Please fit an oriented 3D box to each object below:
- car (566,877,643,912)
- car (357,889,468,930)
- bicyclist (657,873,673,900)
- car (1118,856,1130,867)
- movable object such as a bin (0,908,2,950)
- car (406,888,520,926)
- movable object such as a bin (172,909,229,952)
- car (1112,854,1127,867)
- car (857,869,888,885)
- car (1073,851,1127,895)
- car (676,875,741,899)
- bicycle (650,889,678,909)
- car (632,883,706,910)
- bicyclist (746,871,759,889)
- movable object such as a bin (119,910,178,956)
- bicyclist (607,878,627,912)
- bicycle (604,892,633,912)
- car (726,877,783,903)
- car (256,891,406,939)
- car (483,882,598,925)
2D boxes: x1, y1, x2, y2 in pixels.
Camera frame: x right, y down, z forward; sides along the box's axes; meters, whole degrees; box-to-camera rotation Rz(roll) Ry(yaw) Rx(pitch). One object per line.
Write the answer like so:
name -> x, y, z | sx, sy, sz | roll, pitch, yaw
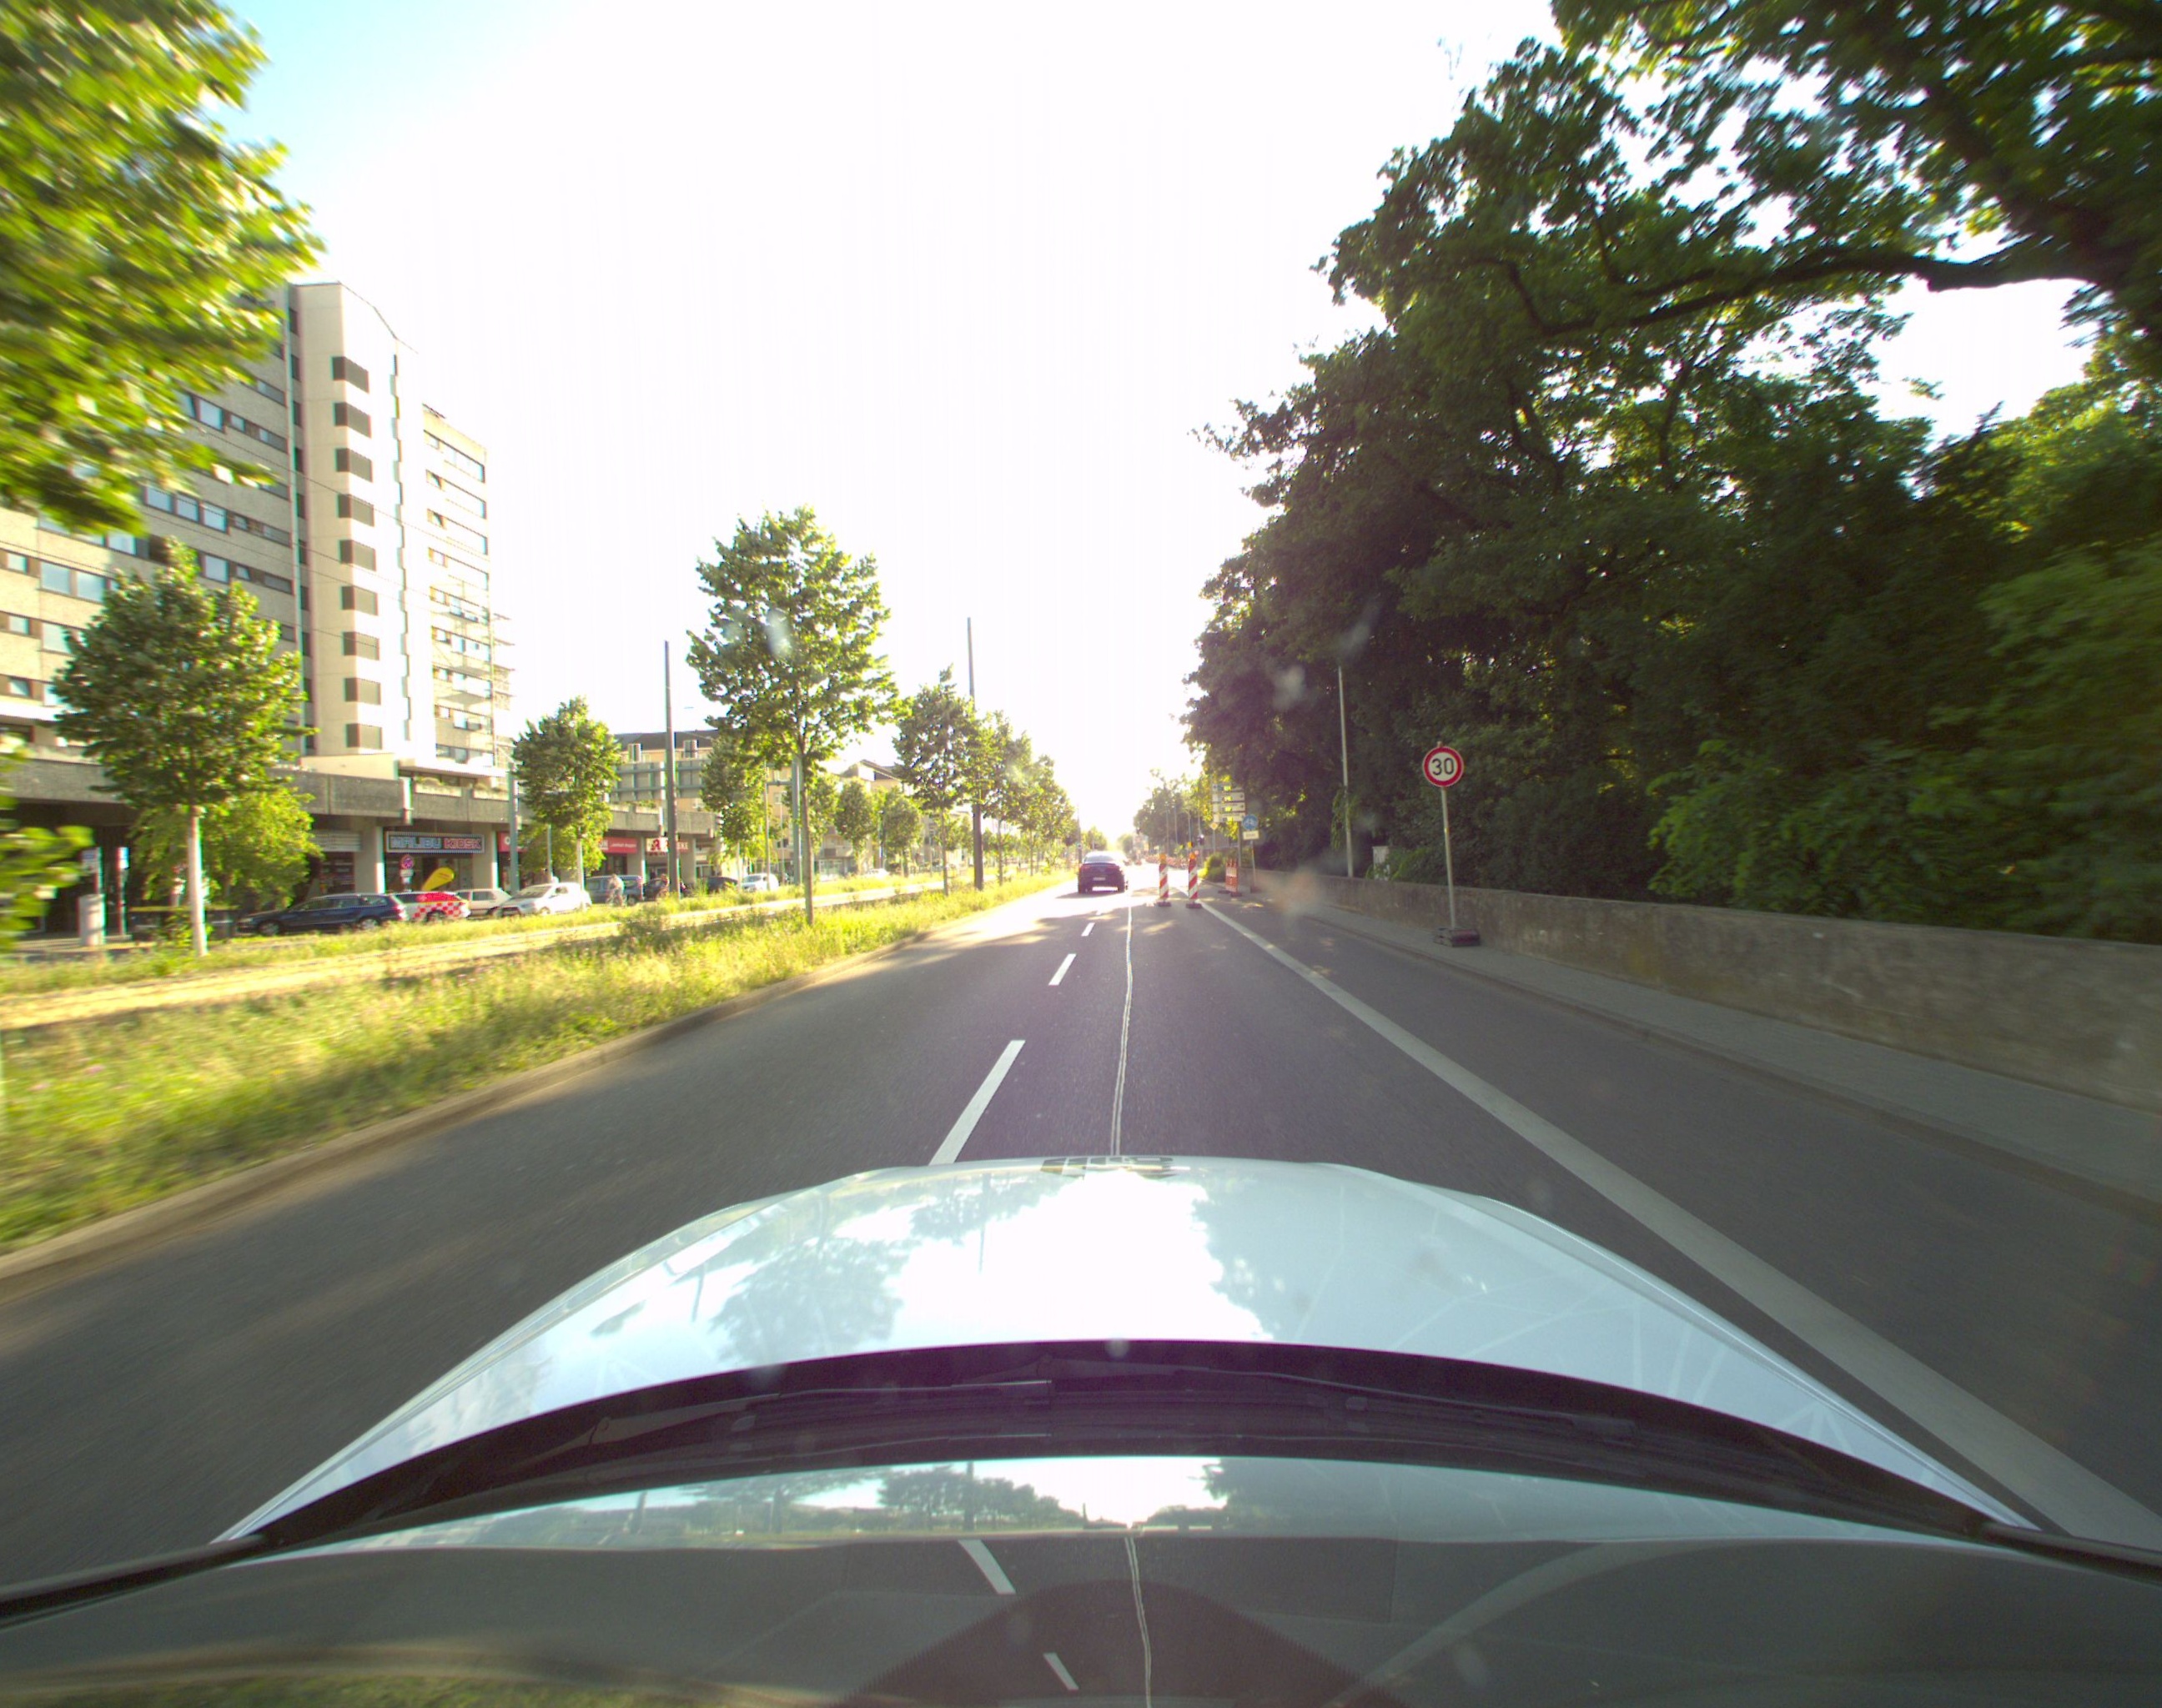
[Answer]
car -> -28.205, 2.343, 48.213 | 3.776, 1.829, 1.804 | -1, 0, -37
car -> -28.699, 2.348, 35.099 | 3.642, 1.523, 1.602 | 0, -1, -38
bicyclist -> -24.238, 1.909, 47.425 | 0.549, 1.544, 0.683 | -1, 0, 4
car -> 6.737, 1.203, 126.821 | 1.760, 1.604, 3.775 | -3, 0, 3
movable object such as a bin -> -35.826, 2.477, 26.283 | 0.818, 1.371, 0.869 | -3, 0, 3
car -> -28.817, 2.425, 38.038 | 4.023, 1.453, 1.764 | -1, 0, -45
movable object such as a bin -> -28.451, 2.480, 26.329 | 0.851, 1.280, 0.944 | -3, -1, 18
car -> 4.918, 0.811, 103.299 | 1.878, 1.580, 4.003 | -2, 0, 3
car -> -20.192, 2.195, 78.986 | 1.926, 1.397, 3.688 | -3, 0, 1
car -> 0.766, 0.794, 35.704 | 1.990, 1.734, 3.994 | -2, 0, -4
car -> -27.351, 2.421, 59.842 | 4.020, 1.563, 1.977 | -1, 0, -39
bicycle -> -24.242, 2.593, 47.350 | 0.552, 1.040, 1.793 | -1, 0, 4
car -> -27.836, 2.834, 55.112 | 4.023, 1.574, 1.975 | -1, 0, -45
bicyclist -> -24.219, 1.916, 60.008 | 0.590, 1.355, 0.760 | -1, 0, 0
movable object such as a bin -> -29.851, 2.510, 26.078 | 0.851, 1.357, 0.944 | -3, -1, 18
bicyclist -> -25.275, 2.222, 44.375 | 0.538, 1.788, 0.858 | -1, 0, 1
bicycle -> -25.245, 2.621, 44.467 | 0.542, 0.993, 1.712 | -1, 0, 1
car -> -21.639, 2.375, 54.140 | 1.876, 1.514, 4.006 | -2, 0, 5
car -> -29.000, 2.324, 31.675 | 4.115, 1.601, 1.730 | 0, 0, -38
car -> -22.491, 2.034, 34.102 | 1.876, 1.514, 4.006 | -2, 0, 5
